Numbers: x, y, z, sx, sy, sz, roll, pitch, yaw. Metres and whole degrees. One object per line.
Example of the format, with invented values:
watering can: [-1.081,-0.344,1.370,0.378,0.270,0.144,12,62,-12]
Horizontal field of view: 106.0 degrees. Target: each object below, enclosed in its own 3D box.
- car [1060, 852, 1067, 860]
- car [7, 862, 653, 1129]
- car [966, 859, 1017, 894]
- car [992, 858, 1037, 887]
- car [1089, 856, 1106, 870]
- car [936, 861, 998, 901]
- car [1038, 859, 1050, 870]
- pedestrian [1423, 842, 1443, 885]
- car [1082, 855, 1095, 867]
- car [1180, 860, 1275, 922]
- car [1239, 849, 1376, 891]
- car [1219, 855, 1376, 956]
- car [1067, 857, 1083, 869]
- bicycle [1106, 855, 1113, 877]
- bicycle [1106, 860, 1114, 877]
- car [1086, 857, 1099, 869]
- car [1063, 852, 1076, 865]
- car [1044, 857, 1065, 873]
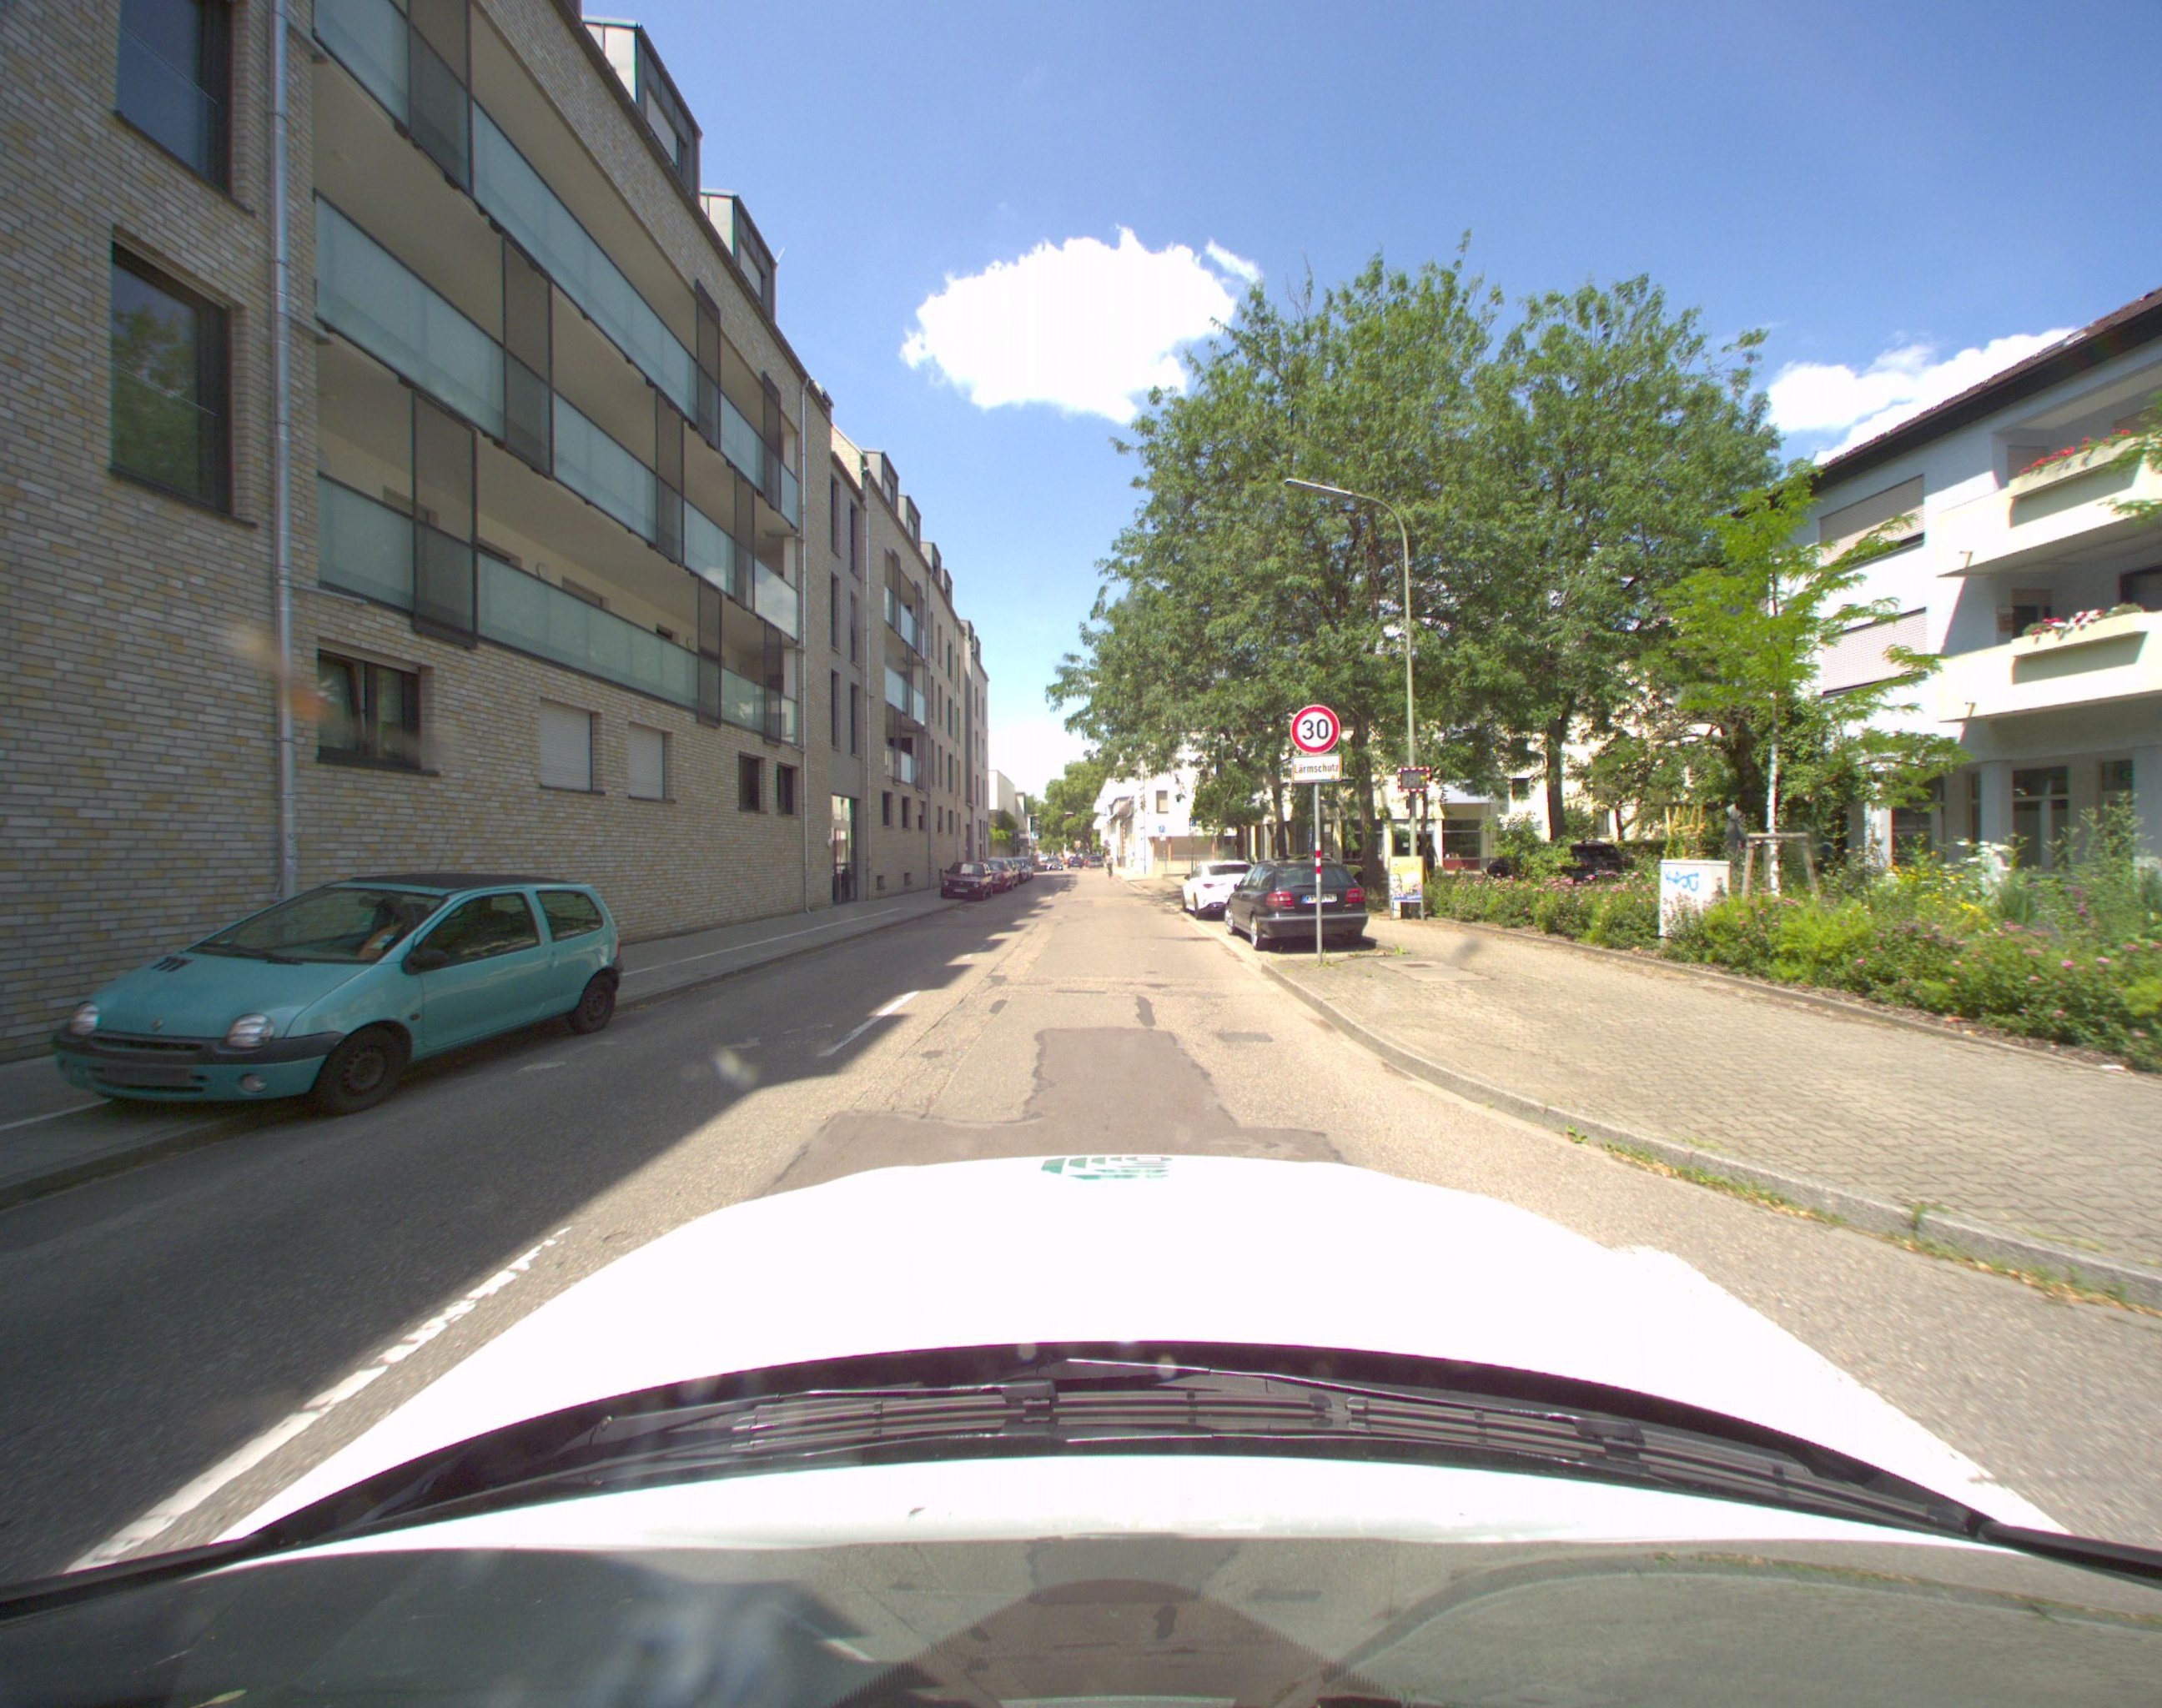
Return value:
car: [-5.018,0.572,235.543,2.150,2.013,3.998,-1,0,-1]
car: [-5.242,0.816,6.476,1.585,1.456,3.705,1,0,2]
car: [-3.979,0.973,36.663,1.726,1.442,4.001,-1,0,2]
car: [-3.413,0.941,42.782,1.819,1.420,4.003,1,0,3]
car: [1.935,1.083,96.895,1.987,1.618,4.000,0,0,0]
car: [-4.348,0.991,31.658,1.726,1.442,4.001,-1,0,2]
car: [-7.245,2.049,160.693,1.986,2.014,4.001,-1,0,1]
pedestrian: [15.425,0.424,35.676,0.589,1.859,0.607,-1,-1,42]
car: [1.065,0.965,113.301,1.818,1.642,3.535,-1,0,1]
car: [3.614,0.871,20.798,1.772,1.420,4.001,-1,0,1]
car: [8.226,0.578,29.702,4.384,1.381,1.991,1,0,-14]
car: [3.586,0.778,14.206,1.686,1.420,4.001,-3,0,1]
car: [-0.667,1.060,96.700,1.708,1.402,4.003,-1,0,2]
bicycle: [1.942,0.795,55.348,0.475,1.490,0.576,-1,-1,1]
bicycle: [1.954,0.983,55.335,0.481,1.115,1.196,-1,0,1]
car: [1.563,1.190,108.299,1.747,1.452,3.679,-1,0,1]
car: [-1.784,0.700,127.553,1.833,2.013,3.999,-1,0,0]
car: [-2.697,1.117,84.530,1.987,1.519,3.999,-1,0,0]
